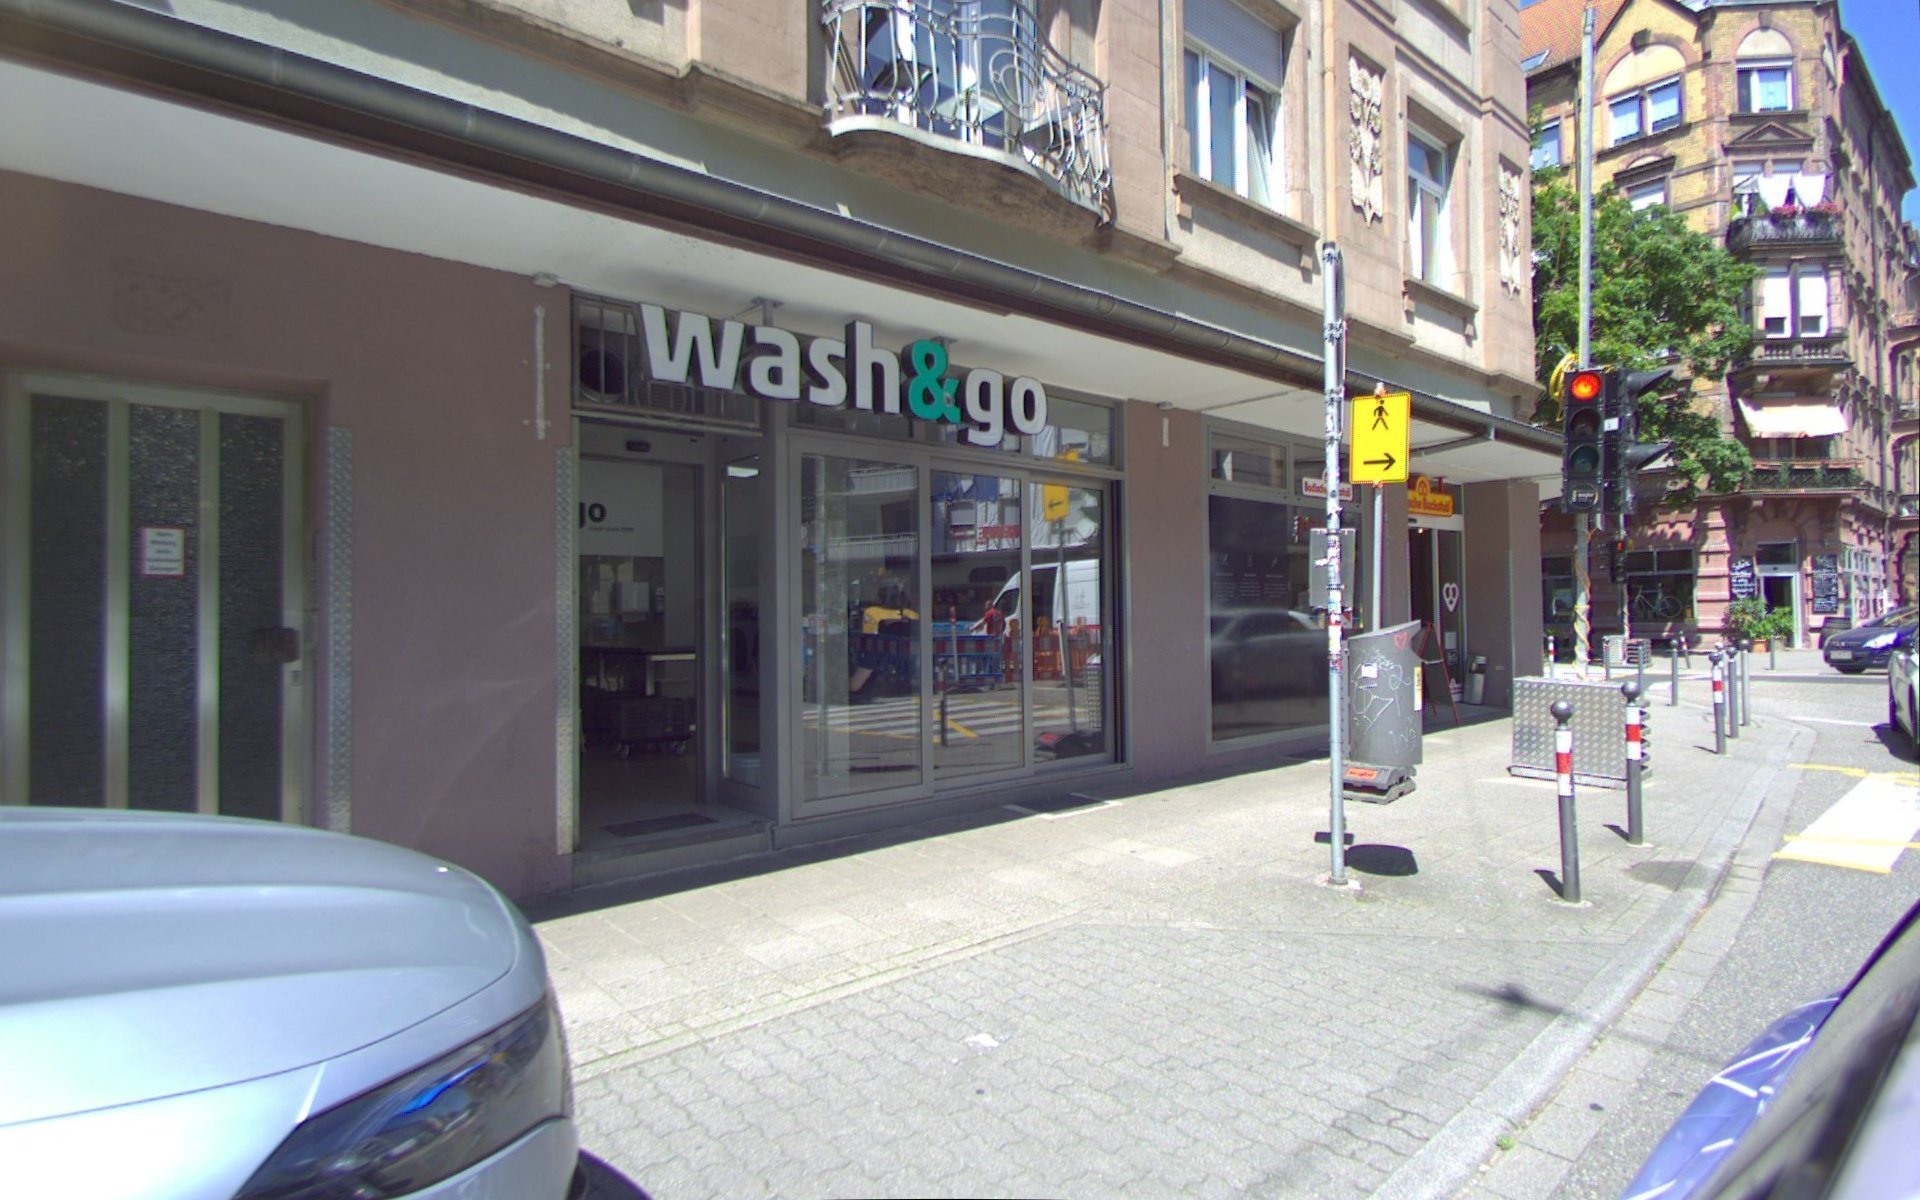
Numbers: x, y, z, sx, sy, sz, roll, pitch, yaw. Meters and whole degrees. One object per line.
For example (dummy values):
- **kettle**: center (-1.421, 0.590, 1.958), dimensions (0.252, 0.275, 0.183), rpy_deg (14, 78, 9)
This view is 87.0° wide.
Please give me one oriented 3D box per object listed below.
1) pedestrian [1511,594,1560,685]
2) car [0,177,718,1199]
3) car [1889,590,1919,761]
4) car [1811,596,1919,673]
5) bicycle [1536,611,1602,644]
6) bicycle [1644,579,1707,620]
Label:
- **pedestrian**: center (10.779, 0.736, 18.948), dimensions (0.701, 1.667, 0.416), rpy_deg (0, -4, 42)
- **car**: center (-2.578, 0.532, 0.530), dimensions (4.424, 1.735, 1.875), rpy_deg (0, 0, -40)
- **car**: center (10.026, 0.639, 9.439), dimensions (1.807, 1.443, 4.179), rpy_deg (-1, -1, 40)
- **car**: center (20.250, 0.633, 20.718), dimensions (3.927, 1.488, 1.779), rpy_deg (-3, -3, 3)
- **bicycle**: center (19.246, 0.870, 31.990), dimensions (0.513, 1.021, 1.694), rpy_deg (0, -2, -39)
- **bicycle**: center (21.348, 0.001, 30.215), dimensions (0.501, 1.167, 1.425), rpy_deg (0, -2, -38)
